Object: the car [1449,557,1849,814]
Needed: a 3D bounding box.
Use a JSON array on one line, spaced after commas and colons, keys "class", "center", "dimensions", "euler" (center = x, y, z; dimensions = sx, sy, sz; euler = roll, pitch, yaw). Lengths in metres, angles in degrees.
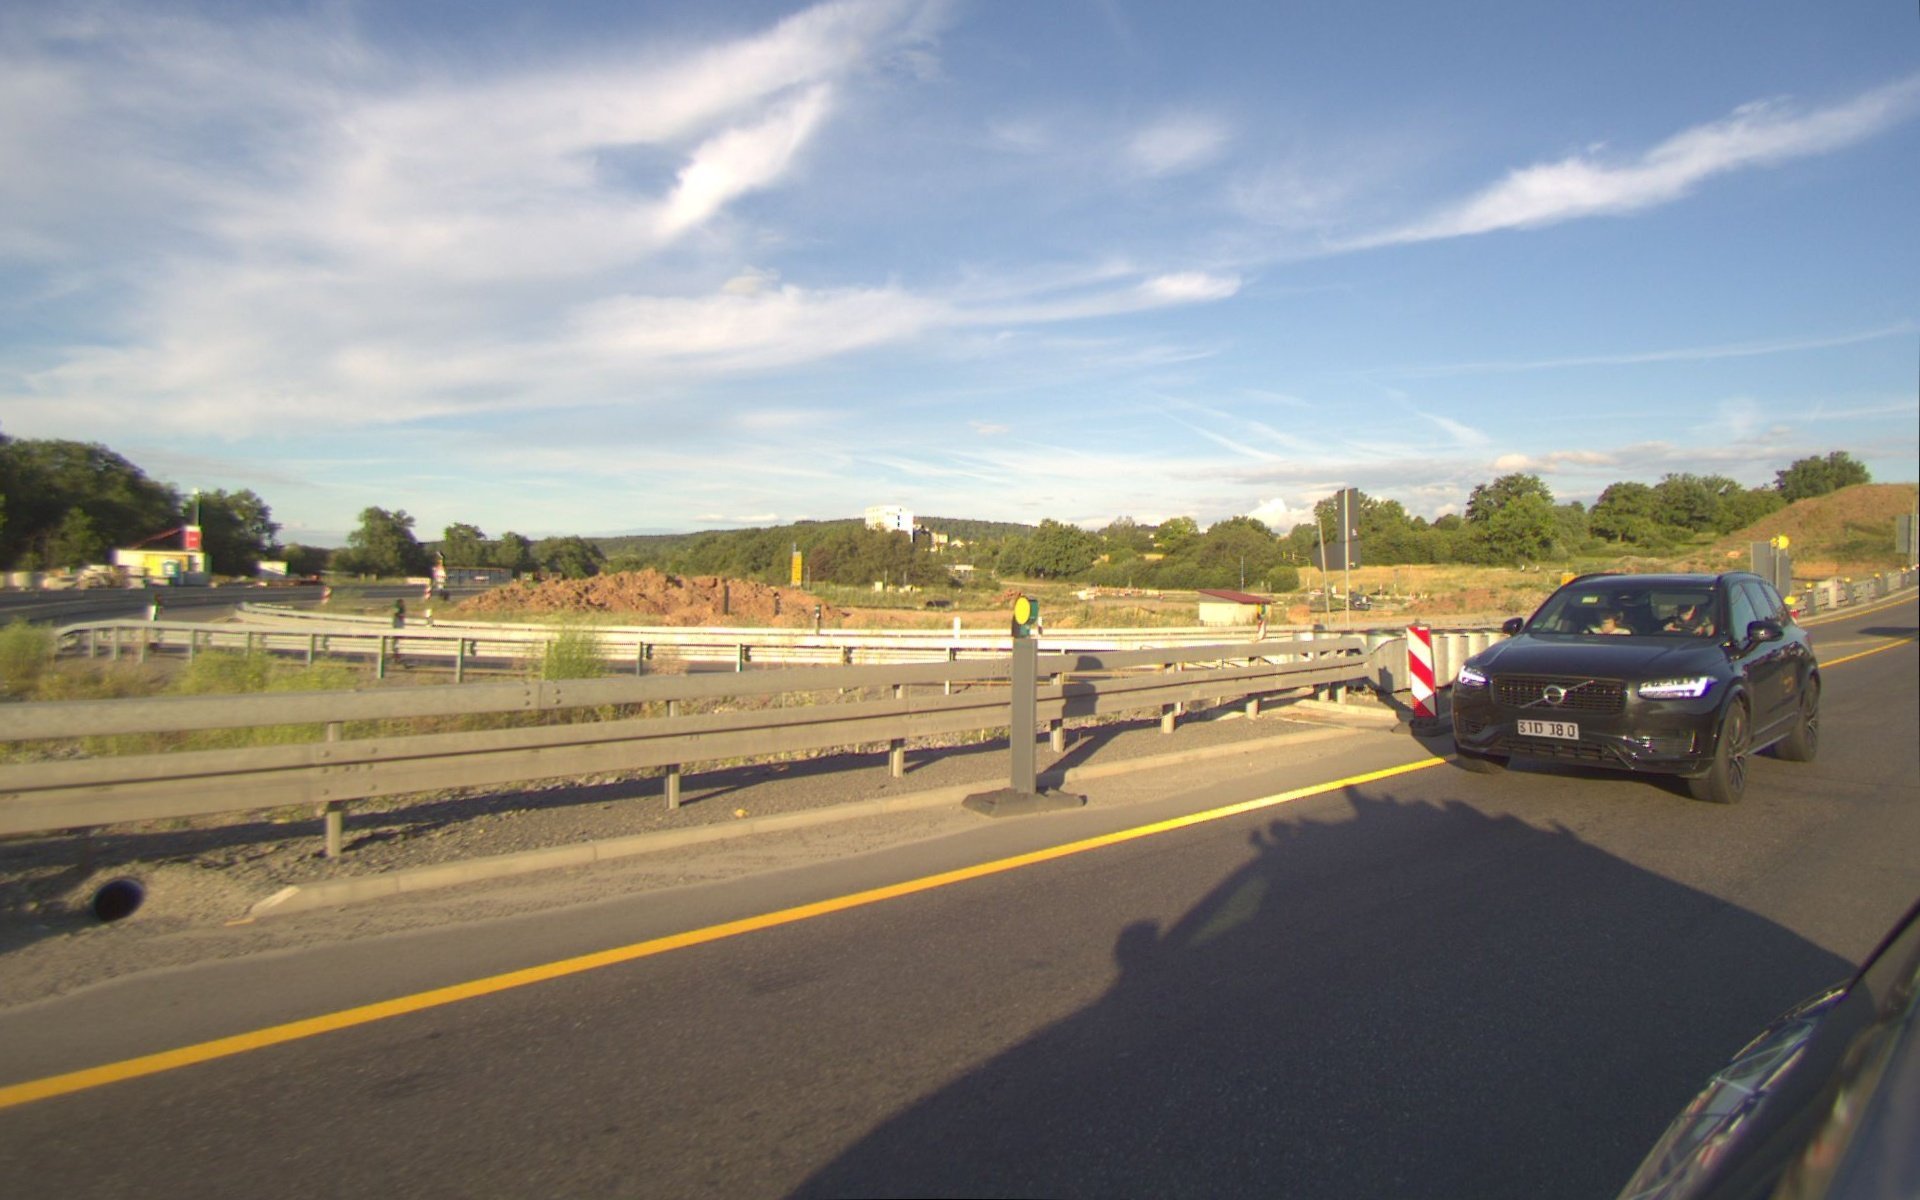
[{"class": "car", "center": [6.401, 0.556, 9.147], "dimensions": [4.803, 1.735, 1.900], "euler": [0, 0, -42]}]
